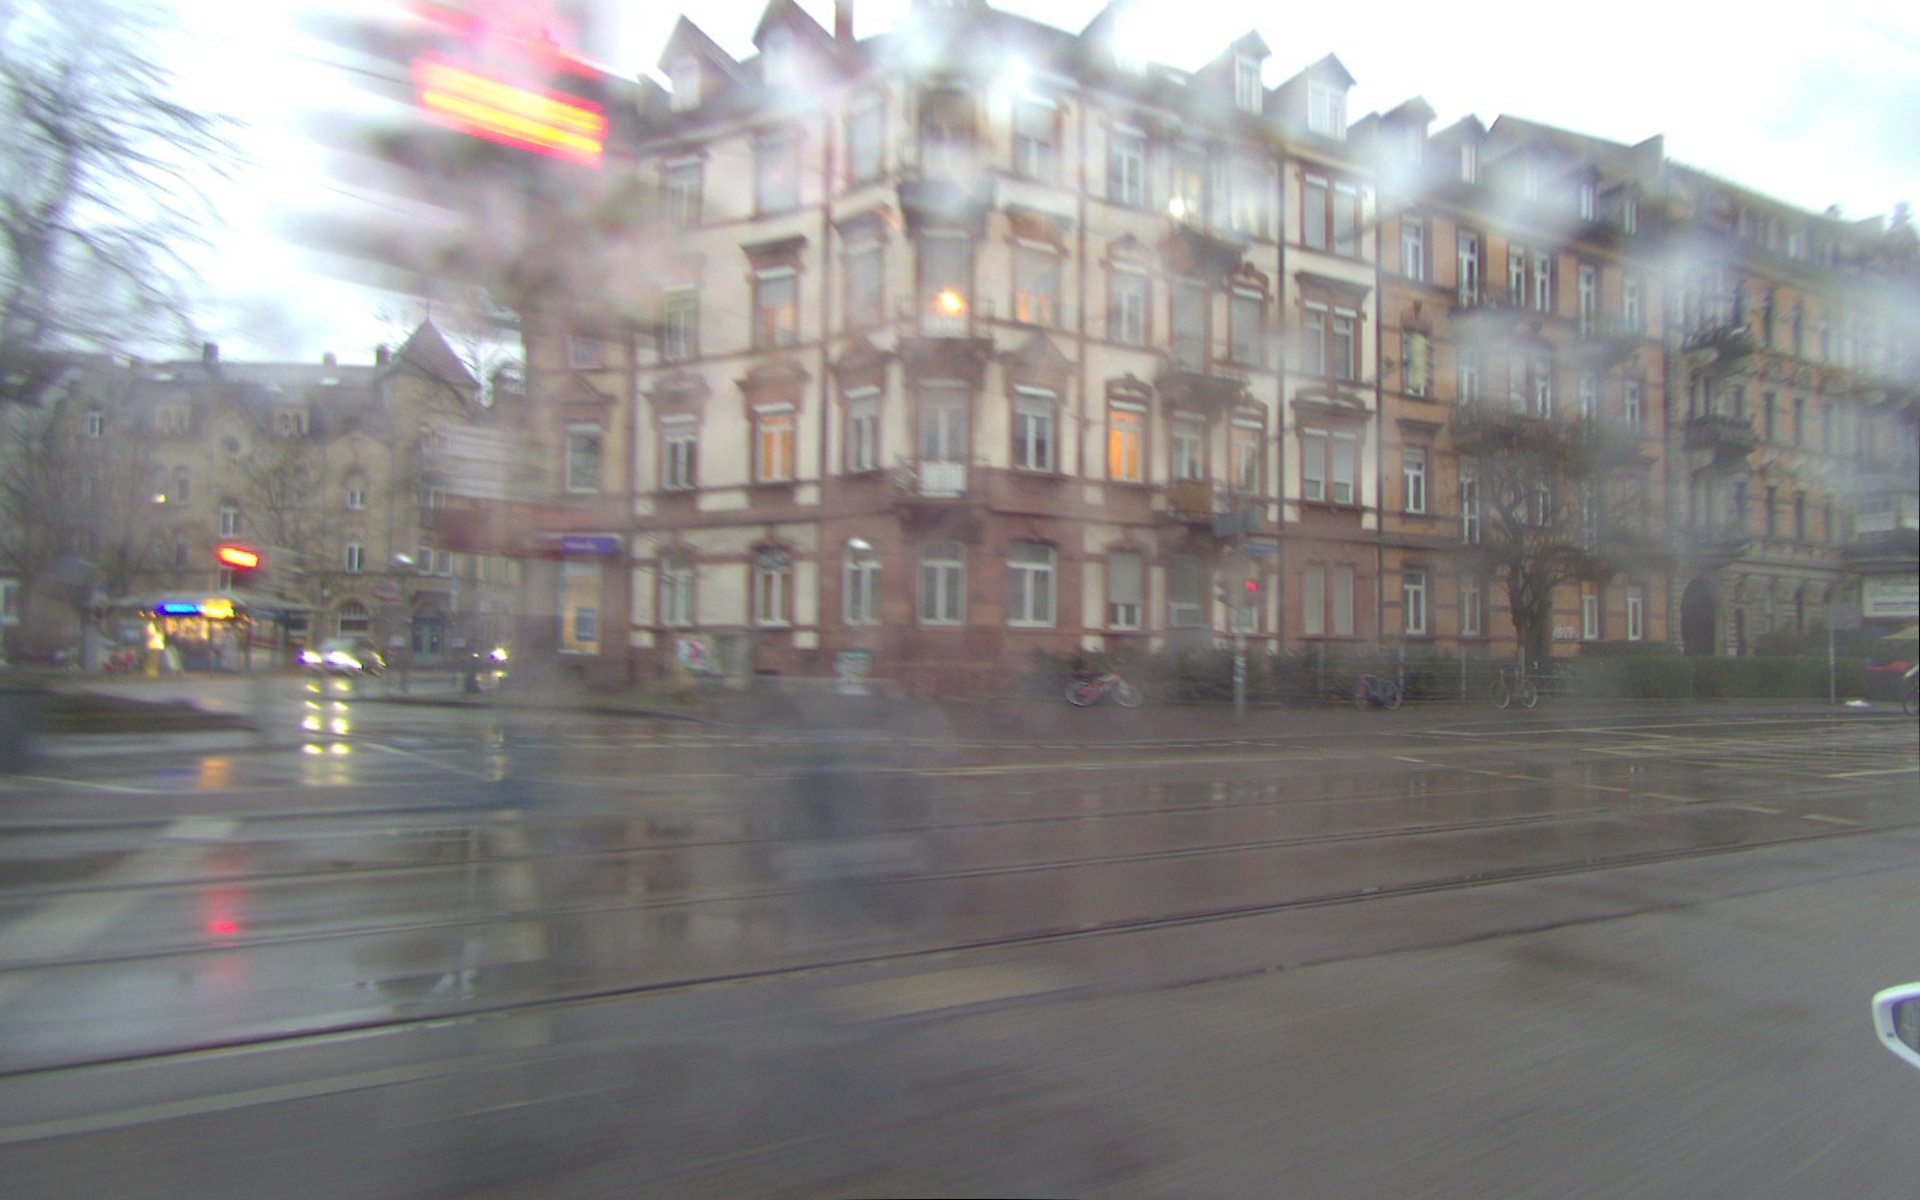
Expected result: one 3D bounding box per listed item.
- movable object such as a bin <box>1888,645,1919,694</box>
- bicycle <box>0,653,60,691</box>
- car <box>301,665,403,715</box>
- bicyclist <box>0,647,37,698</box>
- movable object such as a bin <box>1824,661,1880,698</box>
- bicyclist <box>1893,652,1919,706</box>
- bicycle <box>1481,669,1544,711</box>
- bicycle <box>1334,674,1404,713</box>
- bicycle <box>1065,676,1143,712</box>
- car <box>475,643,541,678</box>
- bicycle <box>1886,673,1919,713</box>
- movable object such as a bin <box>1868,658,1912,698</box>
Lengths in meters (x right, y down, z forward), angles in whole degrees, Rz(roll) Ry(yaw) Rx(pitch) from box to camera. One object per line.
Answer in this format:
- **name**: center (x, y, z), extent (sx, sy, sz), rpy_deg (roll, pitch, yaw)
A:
- **movable object such as a bin**: center (32.345, 2.339, 33.768), extent (1.288, 1.606, 1.242), rpy_deg (2, -2, -21)
- **bicycle**: center (-25.809, 1.957, 27.442), extent (0.482, 1.020, 1.812), rpy_deg (0, -2, 17)
- **car**: center (-23.716, 3.473, 39.352), extent (1.844, 1.795, 3.861), rpy_deg (0, -3, -5)
- **bicyclist**: center (-25.815, 1.969, 27.384), extent (0.520, 1.381, 0.766), rpy_deg (0, -3, 17)
- **movable object such as a bin**: center (30.914, 2.751, 34.822), extent (0.934, 1.223, 1.180), rpy_deg (2, -2, -28)
- **bicyclist**: center (25.555, 2.098, 26.756), extent (0.931, 1.382, 0.702), rpy_deg (2, -1, -24)
- **bicycle**: center (13.991, 2.277, 25.425), extent (1.824, 1.020, 0.415), rpy_deg (2, -2, -25)
- **bicycle**: center (9.604, 2.191, 23.562), extent (1.824, 0.873, 0.398), rpy_deg (2, -2, -25)
- **bicycle**: center (3.314, 2.159, 23.110), extent (1.774, 0.769, 0.401), rpy_deg (0, -2, 11)
- **car**: center (-23.611, 3.149, 52.597), extent (1.962, 1.728, 3.998), rpy_deg (0, -3, -6)
- **bicycle**: center (25.560, 2.464, 26.751), extent (1.778, 1.020, 0.680), rpy_deg (2, -2, -25)
- **movable object such as a bin**: center (31.300, 2.621, 33.805), extent (0.737, 1.309, 0.892), rpy_deg (2, -2, -28)
